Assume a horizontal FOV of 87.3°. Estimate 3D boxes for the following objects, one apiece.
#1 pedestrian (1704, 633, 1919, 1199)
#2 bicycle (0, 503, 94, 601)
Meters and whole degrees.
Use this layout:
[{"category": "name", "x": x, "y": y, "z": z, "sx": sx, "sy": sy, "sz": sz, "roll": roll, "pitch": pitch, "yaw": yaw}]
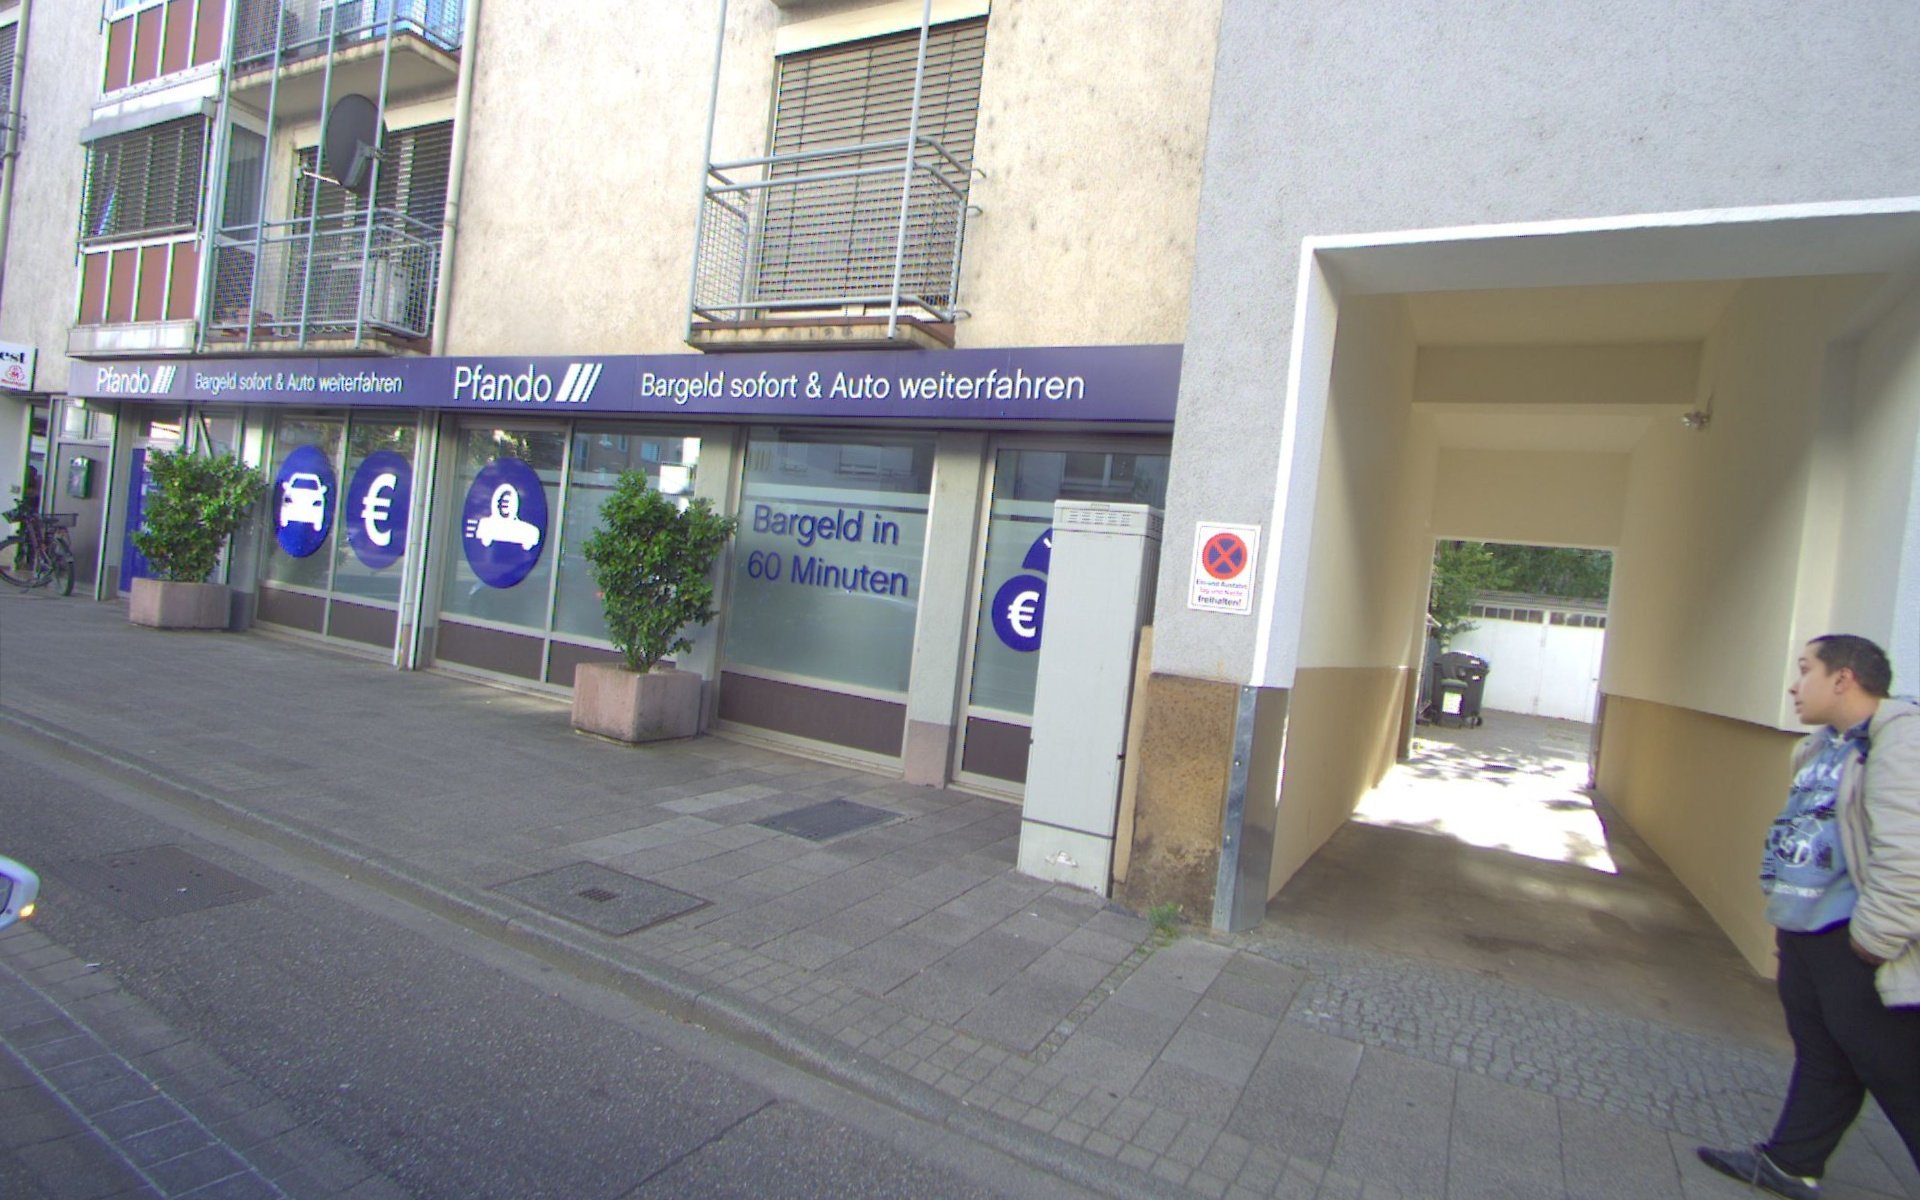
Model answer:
[{"category": "pedestrian", "x": 2.581, "y": 0.908, "z": 2.555, "sx": 0.854, "sy": 1.555, "sz": 0.825, "roll": 7, "pitch": 3, "yaw": 30}, {"category": "bicycle", "x": -11.889, "y": -0.639, "z": 12.894, "sx": 1.779, "sy": 1.086, "sz": 0.531, "roll": 7, "pitch": 1, "yaw": 28}]
